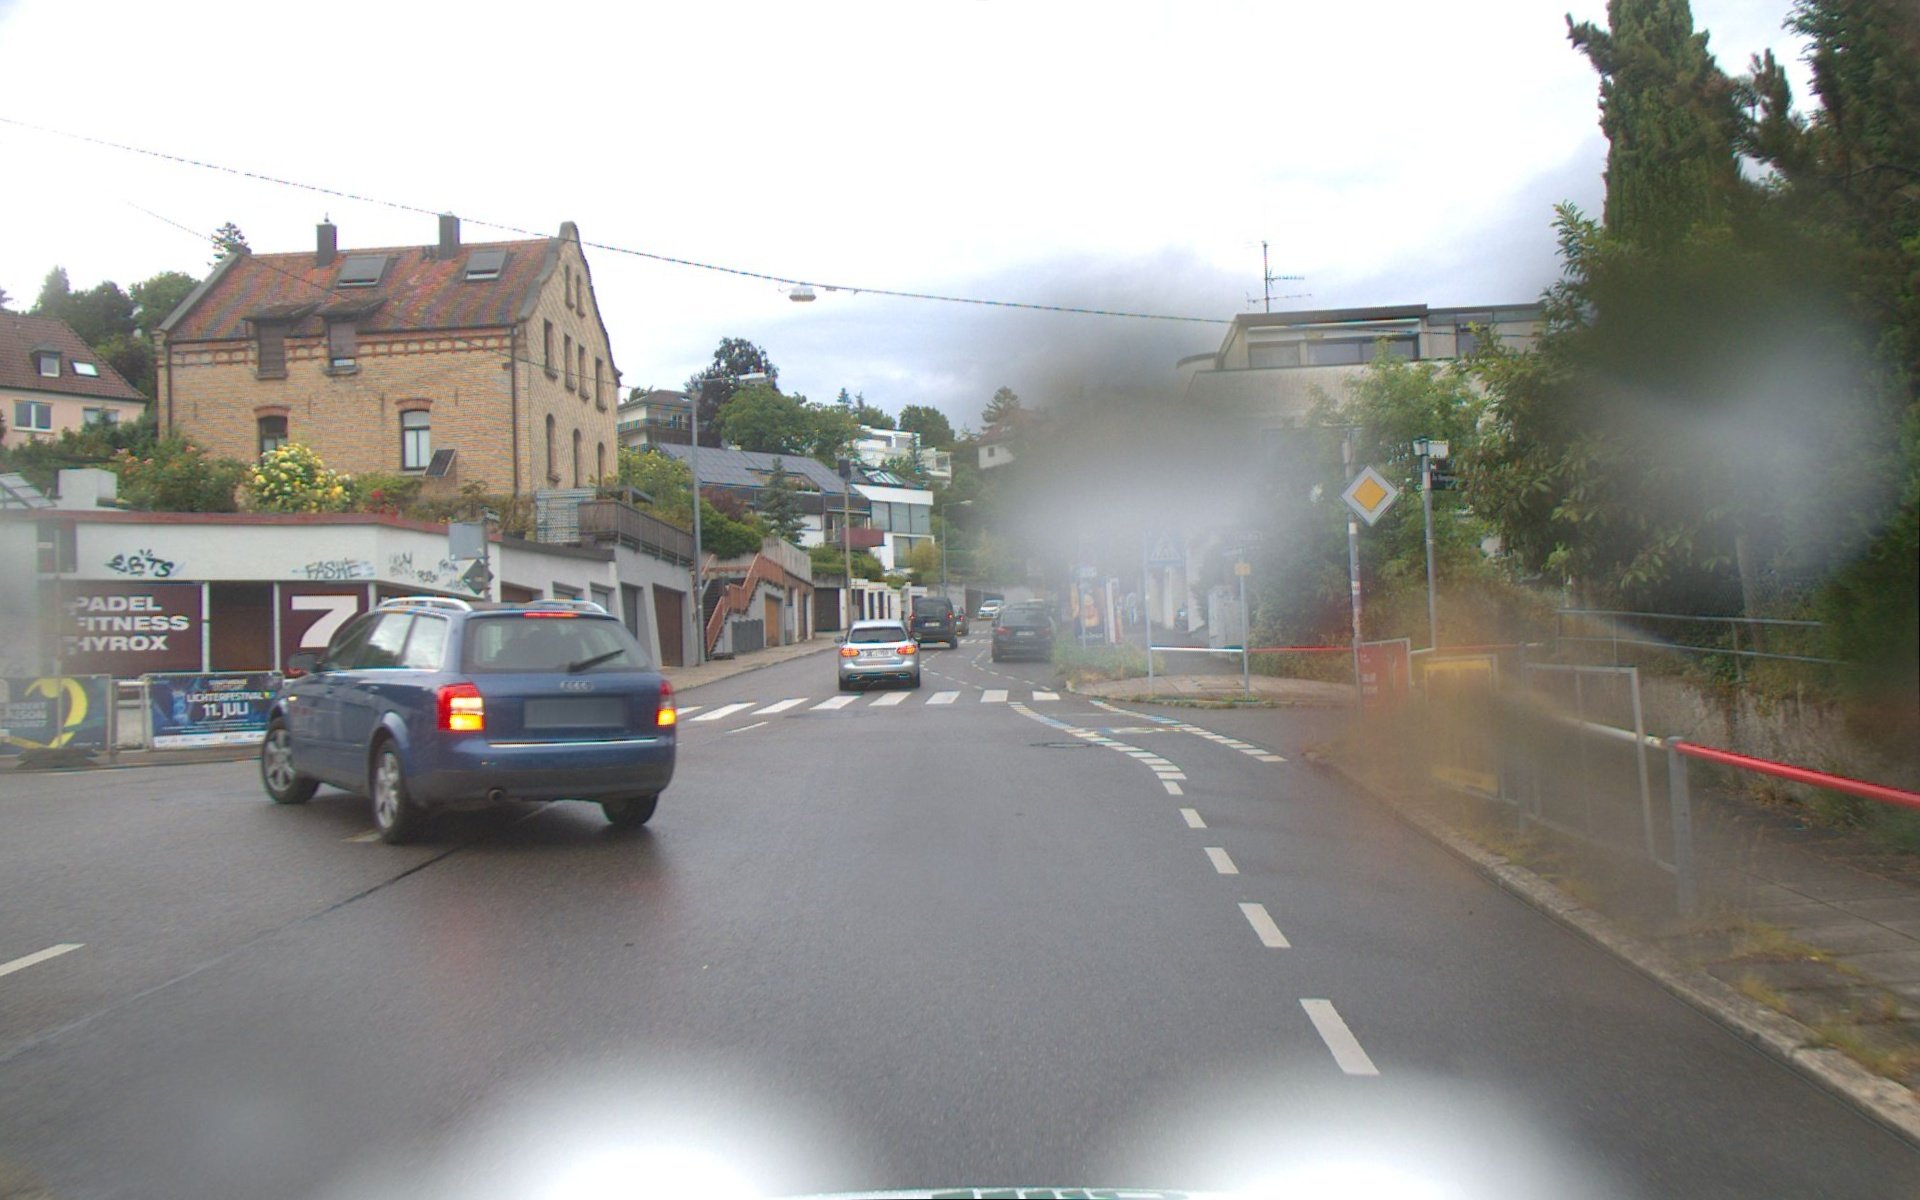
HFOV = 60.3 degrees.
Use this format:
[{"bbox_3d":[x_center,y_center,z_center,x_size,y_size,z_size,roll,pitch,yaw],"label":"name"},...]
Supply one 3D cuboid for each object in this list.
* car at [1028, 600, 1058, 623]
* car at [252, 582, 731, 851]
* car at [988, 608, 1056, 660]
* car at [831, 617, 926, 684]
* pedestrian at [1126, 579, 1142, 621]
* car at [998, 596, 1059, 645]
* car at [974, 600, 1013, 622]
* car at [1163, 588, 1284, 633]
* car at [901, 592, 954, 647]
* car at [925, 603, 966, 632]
[{"bbox_3d":[4.718,0.643,94.018,1.437,1.276,3.585,-1,0,6],"label":"car"},{"bbox_3d":[-3.319,0.710,11.192,1.797,1.465,4.028,3,-3,-36],"label":"car"},{"bbox_3d":[1.769,0.963,48.310,1.735,1.401,4.348,-1,0,-1],"label":"car"},{"bbox_3d":[-1.841,1.145,36.327,1.777,1.385,3.993,0,-3,-7],"label":"car"},{"bbox_3d":[7.786,0.005,73.998,0.625,1.826,0.744,-1,0,0],"label":"pedestrian"},{"bbox_3d":[2.196,0.642,53.554,1.681,1.476,3.832,-1,0,-2],"label":"car"},{"bbox_3d":[2.597,0.828,126.755,1.693,1.635,3.547,-1,-1,24],"label":"car"},{"bbox_3d":[9.078,0.360,56.936,3.903,1.440,1.726,-1,-1,17],"label":"car"},{"bbox_3d":[-1.195,0.691,59.693,1.787,1.851,3.998,-1,0,-2],"label":"car"},{"bbox_3d":[-0.677,0.817,79.210,1.786,1.319,4.001,-1,0,2],"label":"car"}]
